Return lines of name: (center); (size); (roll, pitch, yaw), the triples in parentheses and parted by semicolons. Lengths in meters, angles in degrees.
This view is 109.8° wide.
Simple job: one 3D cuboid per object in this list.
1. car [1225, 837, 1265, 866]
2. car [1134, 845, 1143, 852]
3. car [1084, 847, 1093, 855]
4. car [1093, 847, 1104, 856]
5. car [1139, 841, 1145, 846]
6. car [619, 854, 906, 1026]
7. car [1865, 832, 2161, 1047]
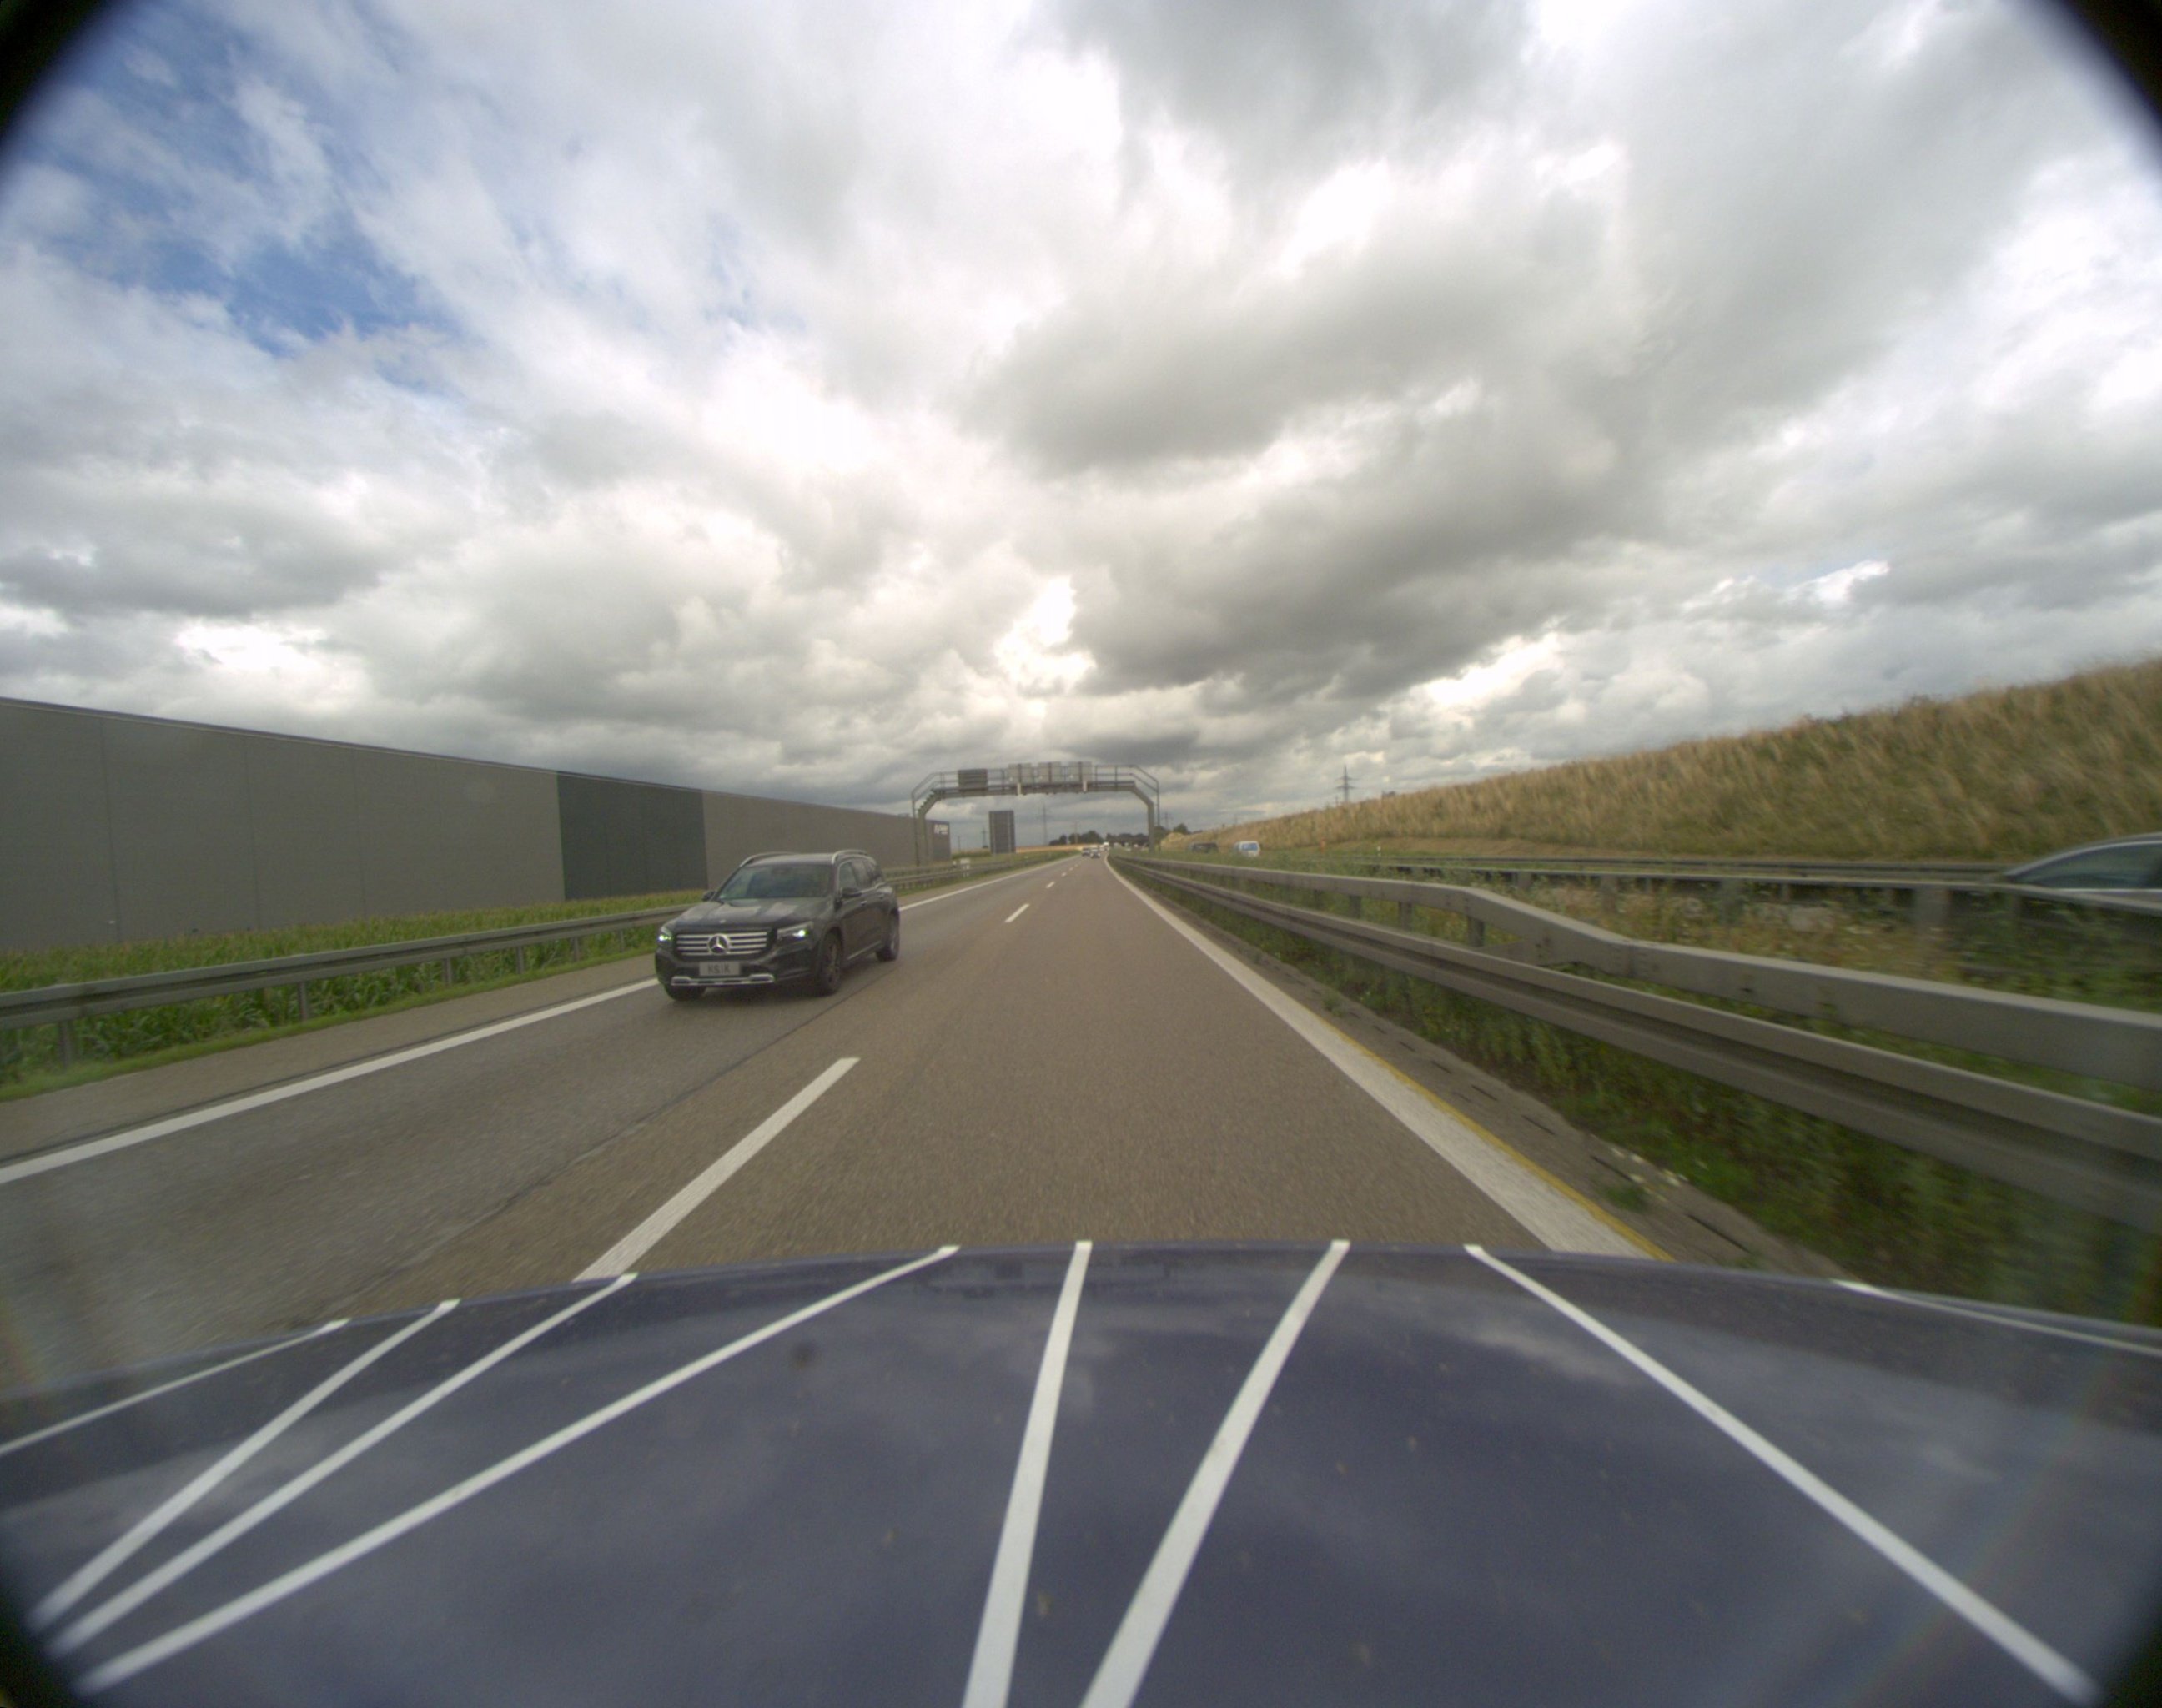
car: (12.502, -0.202, 58.174); (1.998, 2.002, 4.707); (-2, 1, 1)
car: (12.822, -1.263, 170.933); (1.741, 1.581, 3.999); (-3, 1, 1)
car: (2.010, -0.747, 198.876); (1.998, 1.812, 4.342); (-2, 1, 4)
car: (3.523, -0.421, 151.679); (1.998, 1.696, 4.662); (-4, 0, 1)
car: (20.766, -3.618, 258.790); (1.776, 1.445, 4.000); (-3, 1, 2)
car: (-3.731, 0.876, 9.891); (1.838, 1.600, 4.359); (-2, 1, 0)
car: (8.256, 0.576, 4.916); (1.816, 1.394, 4.406); (-3, 1, 1)
